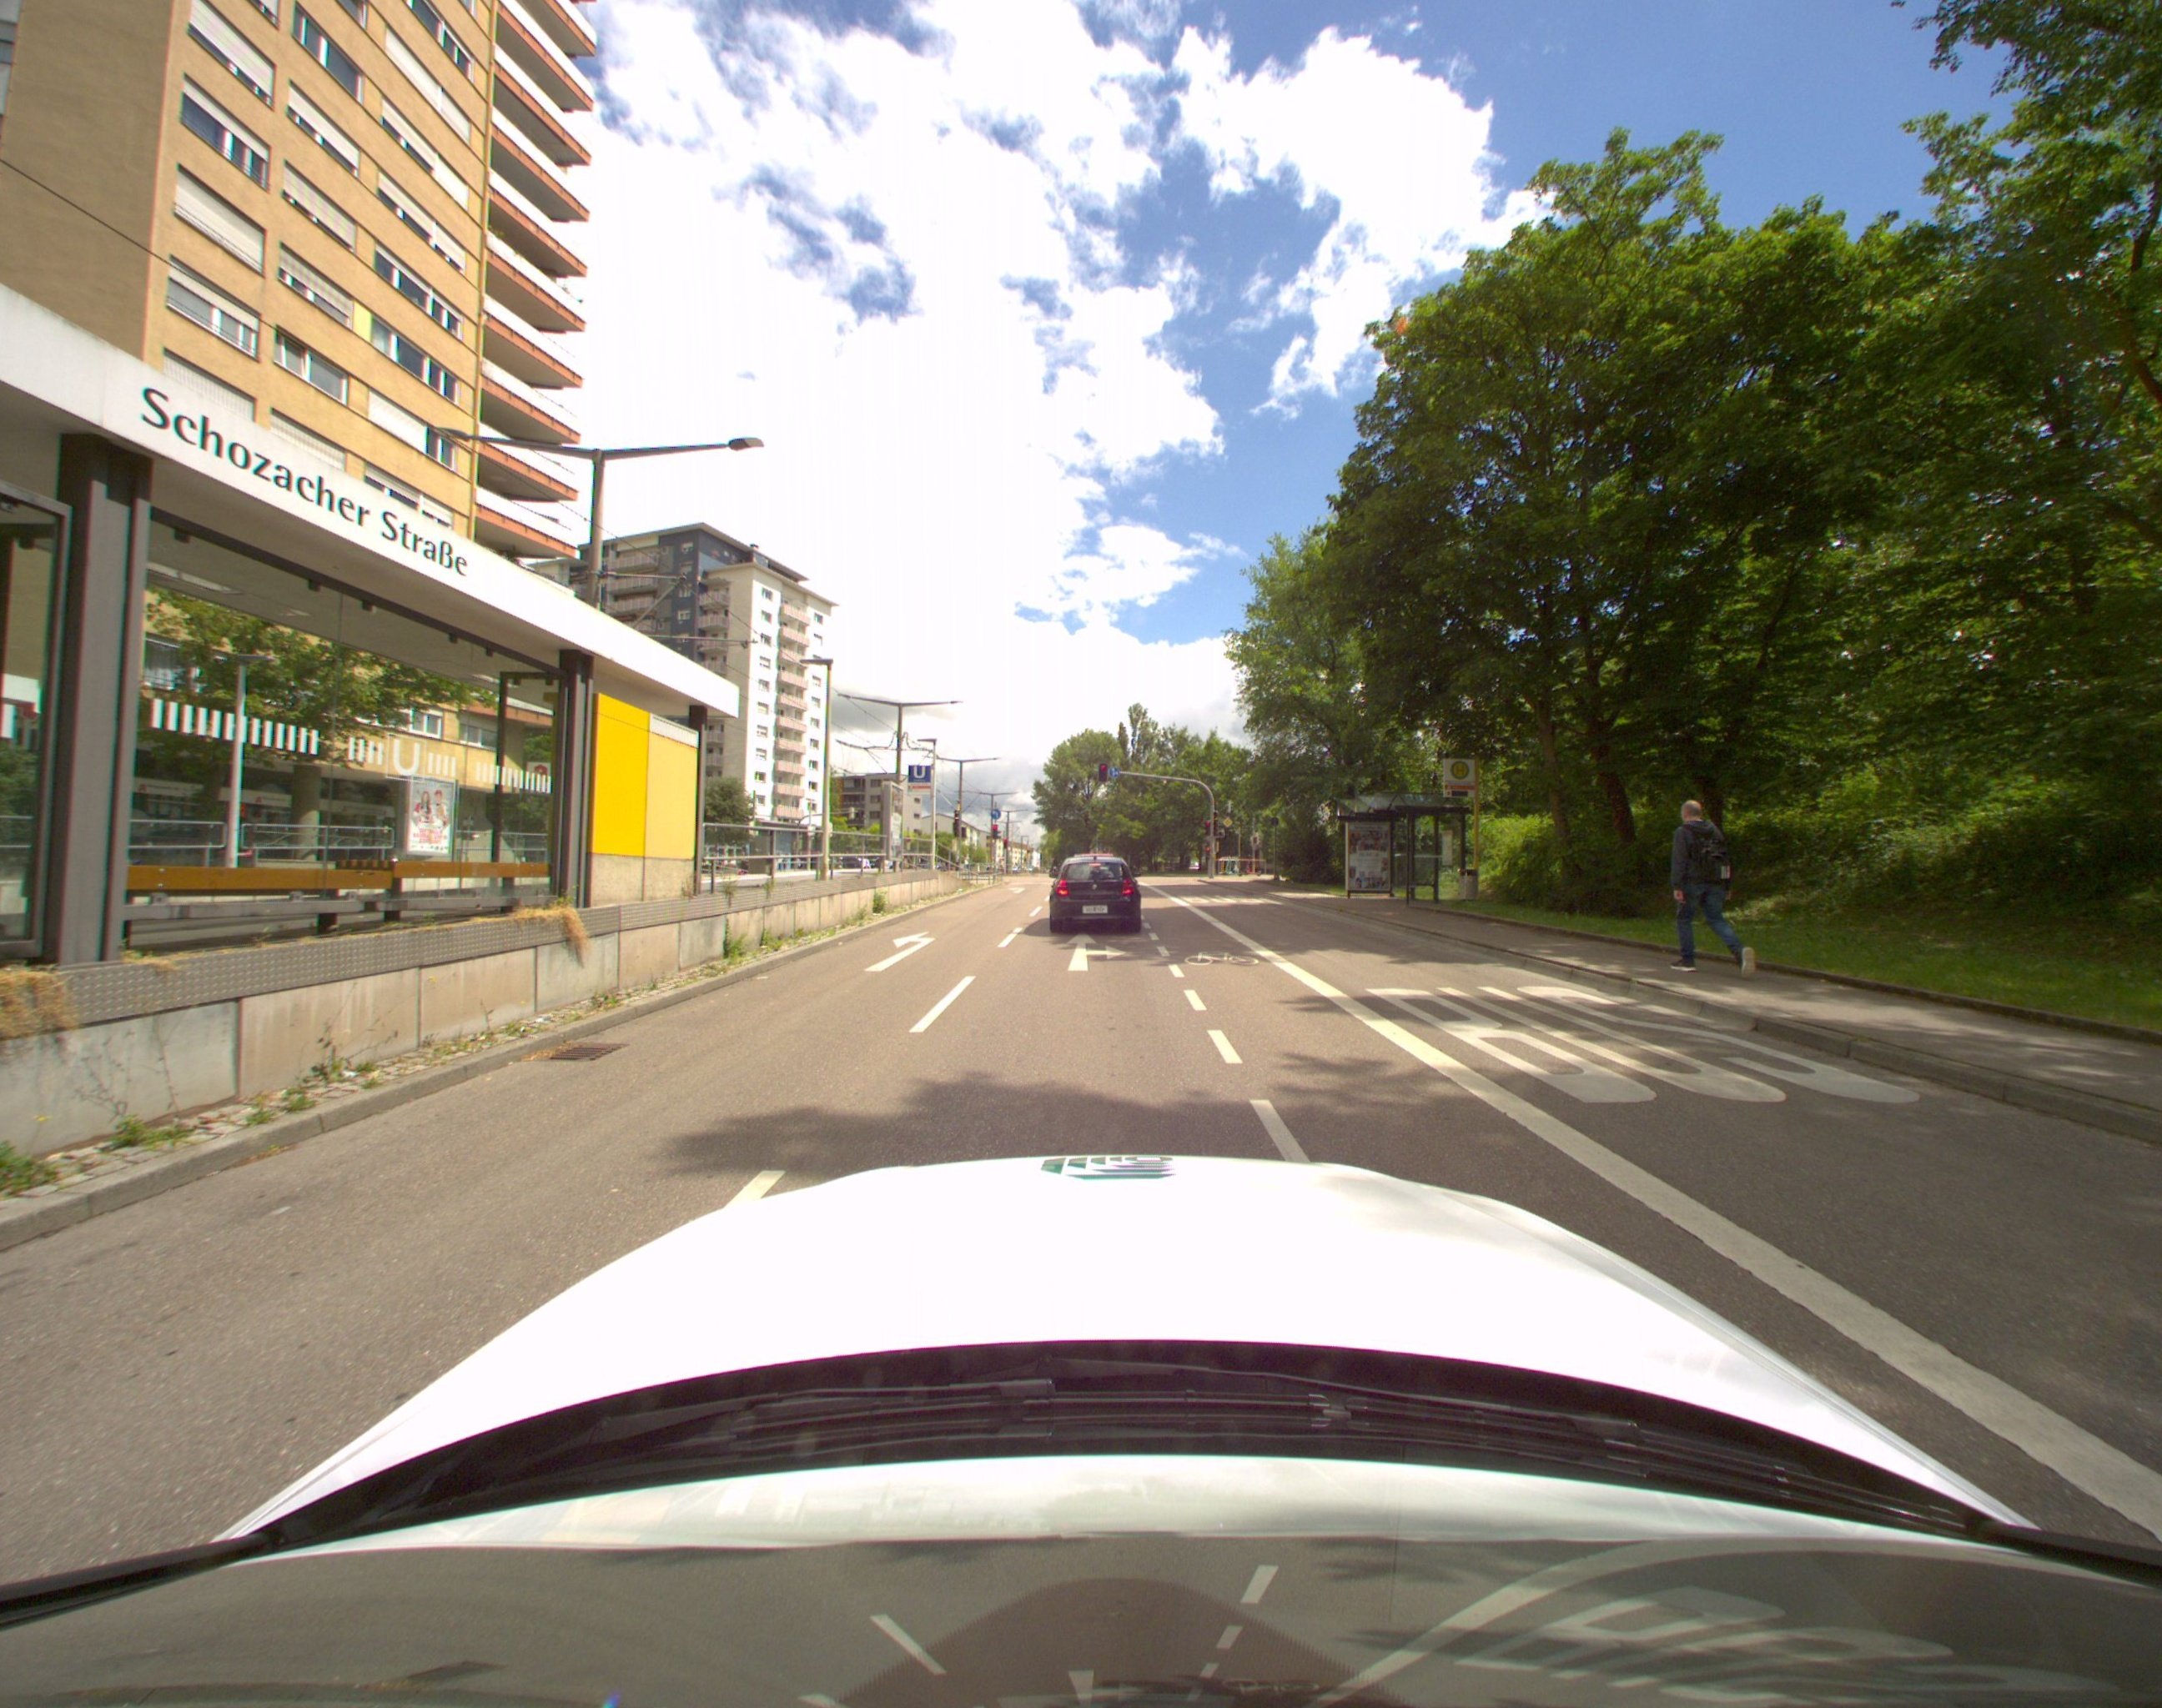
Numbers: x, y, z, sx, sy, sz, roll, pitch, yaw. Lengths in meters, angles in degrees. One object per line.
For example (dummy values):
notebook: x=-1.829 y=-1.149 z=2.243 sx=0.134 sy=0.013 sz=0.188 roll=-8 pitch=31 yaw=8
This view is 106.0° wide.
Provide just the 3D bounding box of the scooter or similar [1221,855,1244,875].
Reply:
scooter or similar: x=8.916 y=0.643 z=47.873 sx=1.290 sy=1.189 sz=0.383 roll=-1 pitch=0 yaw=-15

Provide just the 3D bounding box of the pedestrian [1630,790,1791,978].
pedestrian: x=6.786 y=0.304 z=8.861 sx=0.798 sy=1.895 sz=1.271 roll=0 pitch=0 yaw=2

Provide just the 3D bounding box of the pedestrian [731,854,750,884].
pedestrian: x=-15.309 y=0.658 z=36.641 sx=0.660 sy=1.343 sz=0.558 roll=0 pitch=0 yaw=43

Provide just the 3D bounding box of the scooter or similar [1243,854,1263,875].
scooter or similar: x=10.279 y=0.628 z=48.745 sx=1.107 sy=1.258 sz=0.330 roll=-1 pitch=0 yaw=-11

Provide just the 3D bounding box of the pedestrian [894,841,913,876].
pedestrian: x=-8.488 y=0.206 z=38.961 sx=0.698 sy=1.632 sz=0.638 roll=-1 pitch=0 yaw=3

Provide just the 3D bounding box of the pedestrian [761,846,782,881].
pedestrian: x=-15.214 y=0.443 z=40.054 sx=0.678 sy=1.706 sz=0.826 roll=0 pitch=0 yaw=-1

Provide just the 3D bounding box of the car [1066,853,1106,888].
car: x=0.187 y=0.669 z=35.456 sx=1.649 sy=1.419 sz=3.516 roll=0 pitch=0 yaw=0

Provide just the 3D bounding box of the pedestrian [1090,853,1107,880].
pedestrian: x=0.962 y=0.666 z=44.650 sx=0.861 sy=1.442 sz=0.799 roll=-1 pitch=0 yaw=2

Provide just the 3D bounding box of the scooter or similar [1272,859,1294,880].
scooter or similar: x=10.797 y=0.847 z=43.469 sx=1.153 sy=1.099 sz=0.329 roll=0 pitch=0 yaw=-23

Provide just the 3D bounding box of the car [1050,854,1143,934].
car: x=0.374 y=0.714 z=16.286 sx=1.648 sy=1.419 sz=3.520 roll=0 pitch=0 yaw=3

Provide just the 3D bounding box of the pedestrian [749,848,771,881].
pedestrian: x=-15.358 y=0.509 z=38.942 sx=0.857 sy=1.578 sz=0.622 roll=0 pitch=0 yaw=-8

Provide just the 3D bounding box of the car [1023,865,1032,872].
car: x=-13.226 y=3.567 z=202.580 sx=1.961 sy=1.596 sz=3.998 roll=0 pitch=0 yaw=-1

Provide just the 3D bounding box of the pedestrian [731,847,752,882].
pedestrian: x=-15.635 y=0.475 z=37.509 sx=0.605 sy=1.583 sz=0.776 roll=0 pitch=0 yaw=5

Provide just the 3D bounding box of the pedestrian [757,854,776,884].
pedestrian: x=-14.300 y=0.653 z=36.970 sx=0.691 sy=1.342 sz=0.852 roll=0 pitch=0 yaw=-29

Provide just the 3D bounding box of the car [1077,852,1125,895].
car: x=0.728 y=0.653 z=28.710 sx=1.588 sy=1.419 sz=3.518 roll=0 pitch=0 yaw=2

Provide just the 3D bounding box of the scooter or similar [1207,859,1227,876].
scooter or similar: x=7.832 y=0.781 z=46.814 sx=1.122 sy=0.957 sz=0.299 roll=-1 pitch=0 yaw=-15
